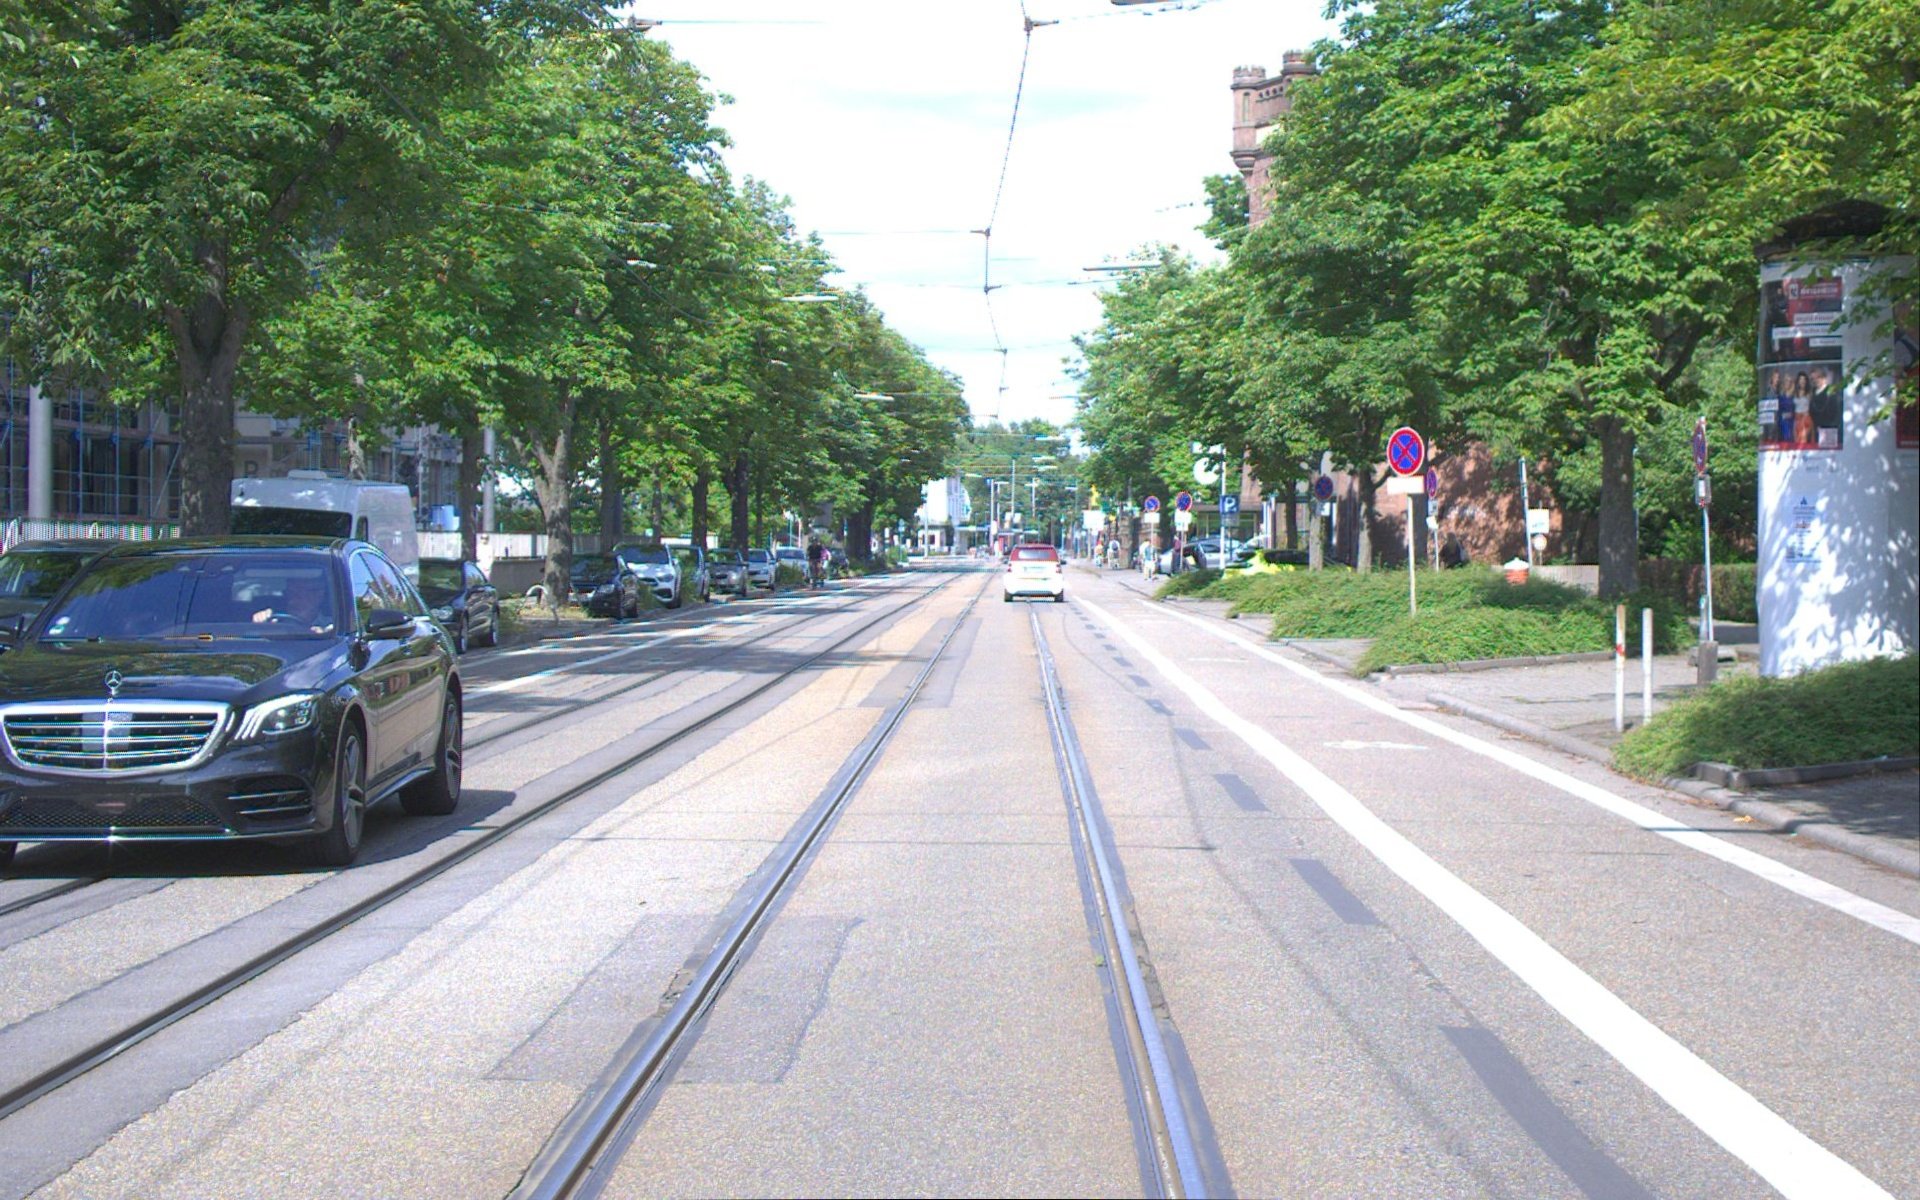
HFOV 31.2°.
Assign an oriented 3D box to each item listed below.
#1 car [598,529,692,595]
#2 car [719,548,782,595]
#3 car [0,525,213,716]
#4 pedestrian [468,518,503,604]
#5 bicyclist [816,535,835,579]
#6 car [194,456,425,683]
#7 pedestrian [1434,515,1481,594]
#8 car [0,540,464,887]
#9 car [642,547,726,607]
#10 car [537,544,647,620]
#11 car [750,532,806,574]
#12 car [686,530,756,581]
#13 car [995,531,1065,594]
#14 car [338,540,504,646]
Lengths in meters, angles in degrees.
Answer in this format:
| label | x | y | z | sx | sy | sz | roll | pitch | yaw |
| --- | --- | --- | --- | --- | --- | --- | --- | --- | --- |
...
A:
| label | x | y | z | sx | sy | sz | roll | pitch | yaw |
| --- | --- | --- | --- | --- | --- | --- | --- | --- | --- |
| car | -7.631 | -0.937 | 83.680 | 1.804 | 1.511 | 4.103 | 2 | 1 | 1 |
| car | -7.187 | -0.990 | 118.279 | 1.804 | 1.511 | 4.103 | 2 | 1 | 1 |
| car | -8.482 | 0.141 | 32.619 | 1.804 | 1.656 | 4.103 | 2 | 1 | 1 |
| pedestrian | -11.184 | -0.927 | 81.050 | 0.802 | 2.007 | 0.485 | 0 | 1 | -8 |
| bicyclist | -4.949 | -1.584 | 126.579 | 0.658 | 1.574 | 0.946 | 2 | 1 | -1 |
| car | -8.103 | -0.398 | 43.280 | 1.769 | 2.630 | 5.322 | 2 | 1 | 1 |
| pedestrian | 12.953 | -1.193 | 89.519 | 0.977 | 2.007 | 1.093 | 2 | 1 | 0 |
| car | -3.719 | 0.465 | 17.231 | 1.800 | 1.503 | 4.536 | 0 | 1 | 0 |
| car | -7.342 | -0.637 | 91.684 | 1.804 | 1.511 | 4.103 | 2 | 1 | 1 |
| car | -7.790 | -0.400 | 73.135 | 1.804 | 1.511 | 4.103 | 2 | 1 | 1 |
| car | -6.820 | -1.777 | 129.162 | 1.804 | 1.511 | 4.103 | 1 | 1 | 1 |
| car | -7.334 | -1.380 | 105.849 | 1.804 | 1.511 | 4.103 | 1 | 1 | 1 |
| car | 1.854 | -1.020 | 91.784 | 1.665 | 1.619 | 3.621 | 0 | 1 | -2 |
| car | -8.215 | -0.137 | 52.701 | 1.804 | 1.511 | 4.103 | 2 | 1 | 1 |
